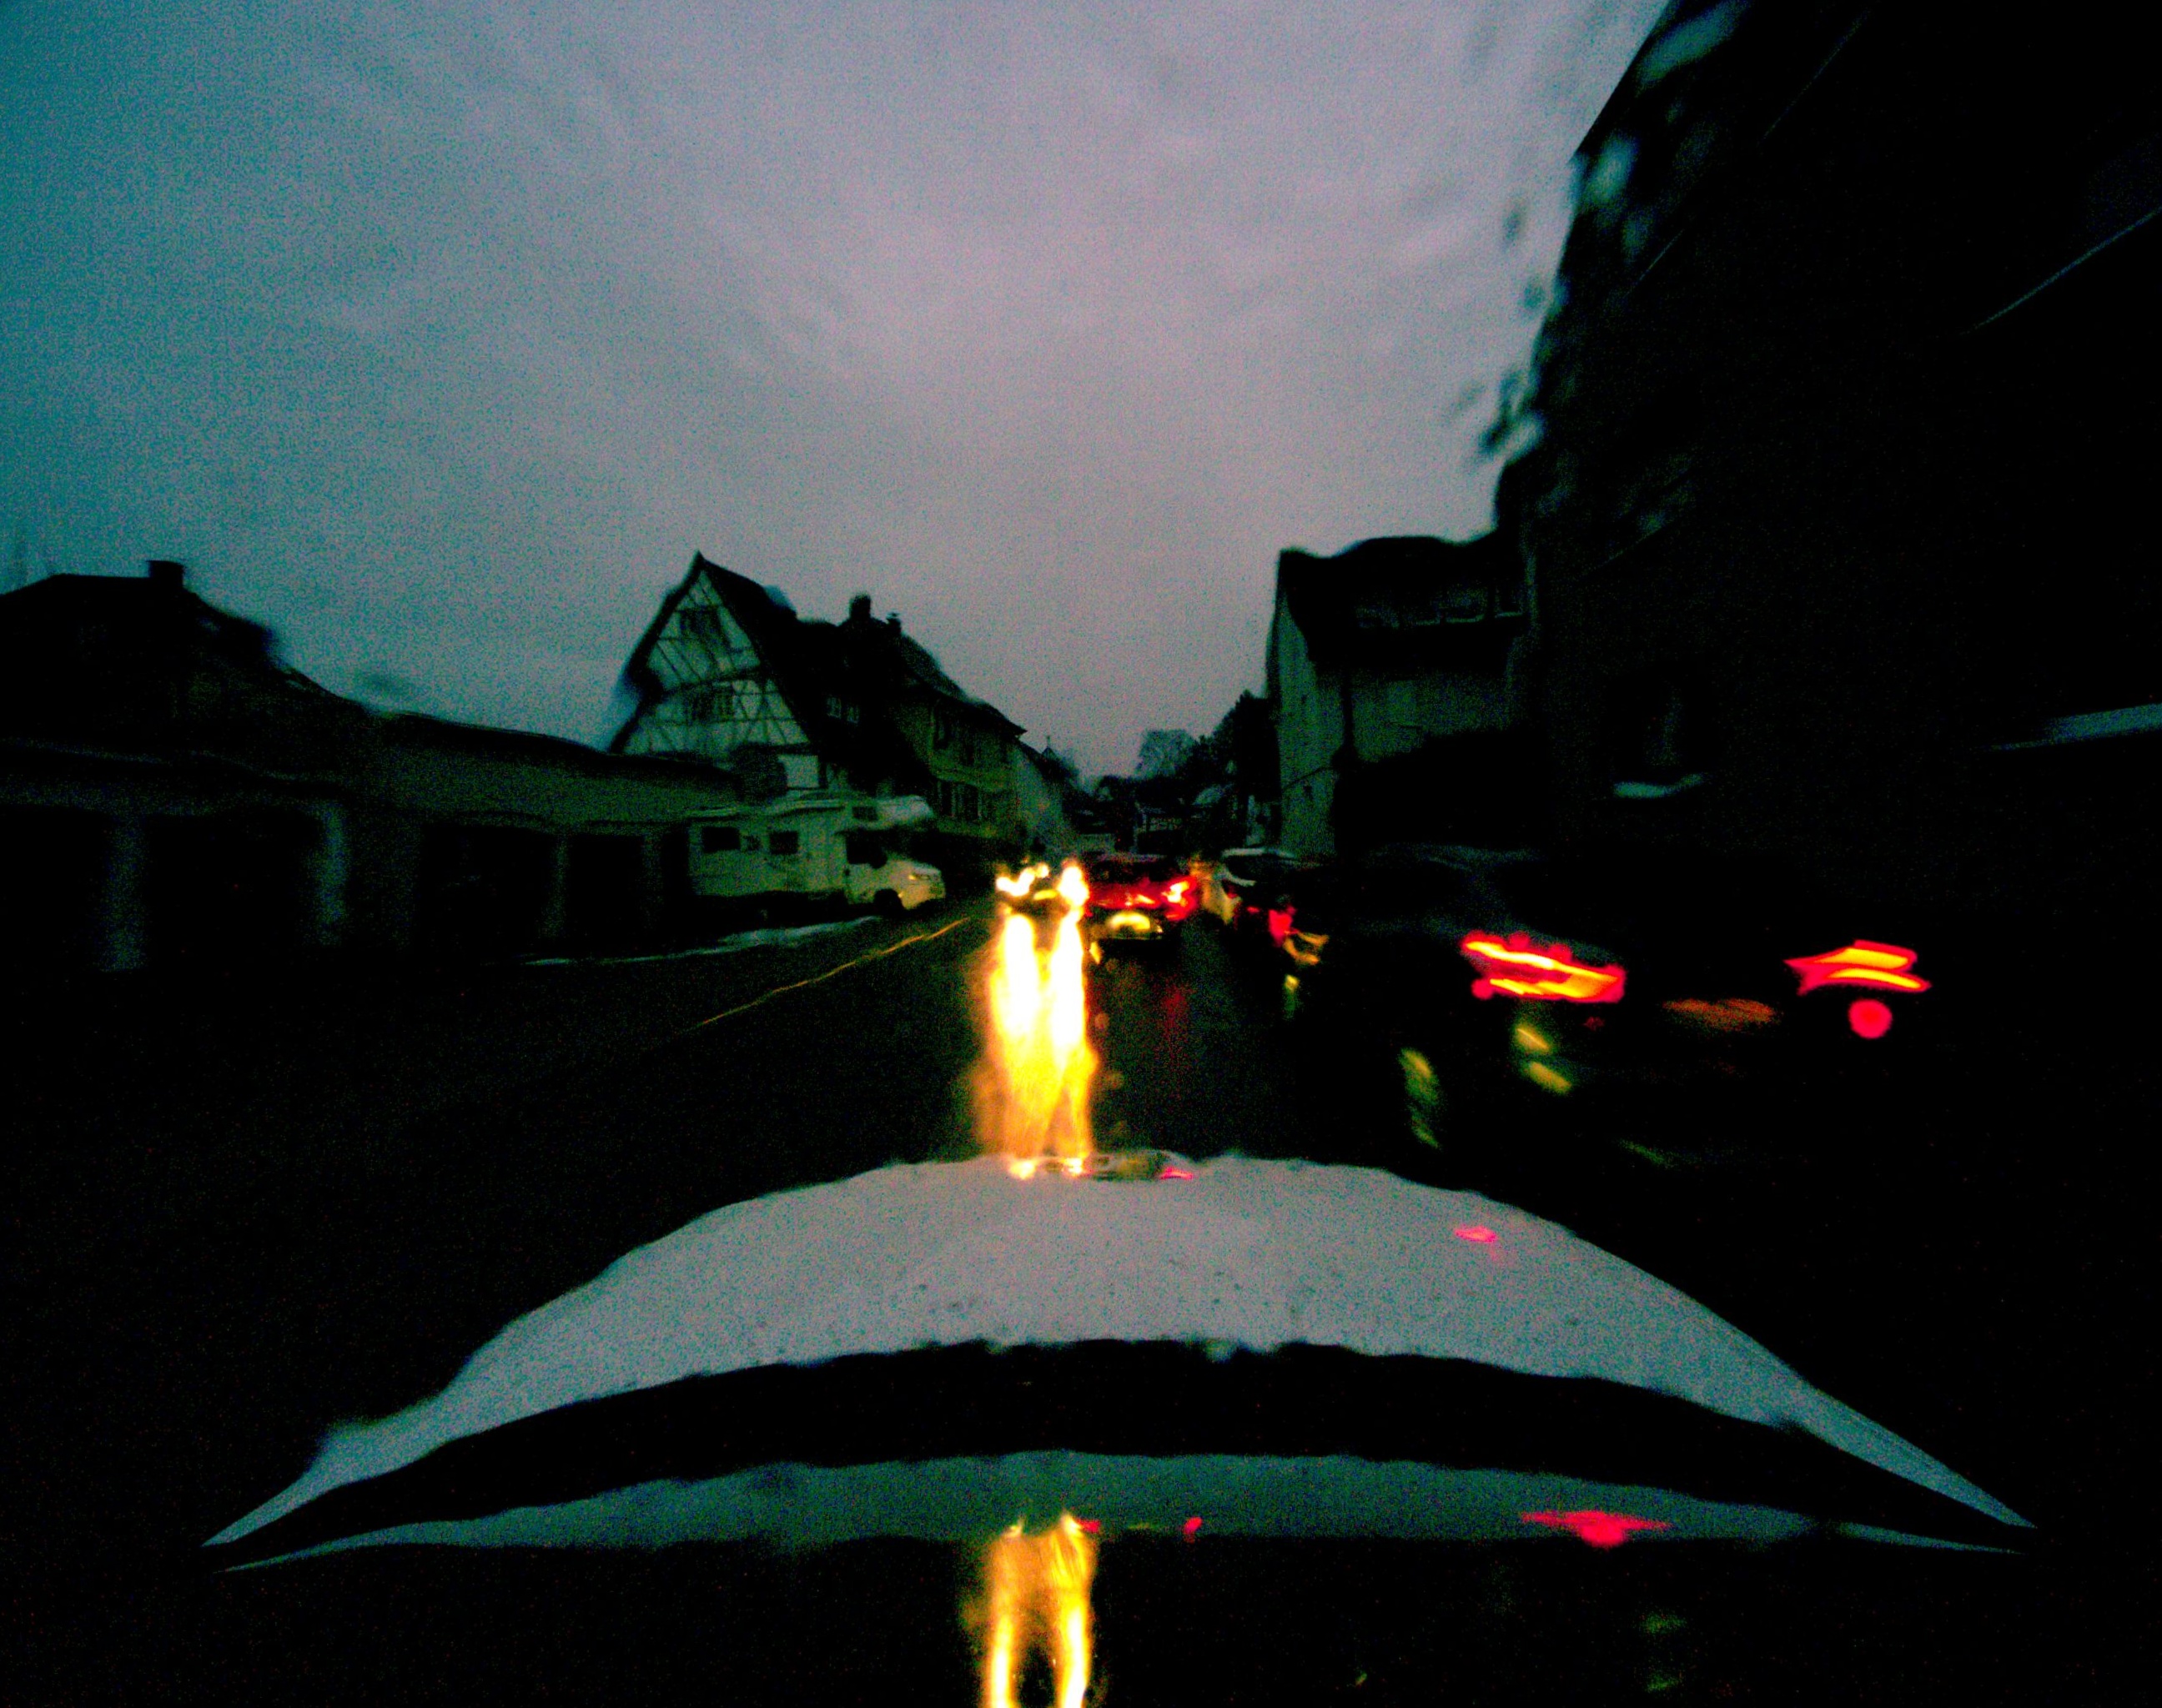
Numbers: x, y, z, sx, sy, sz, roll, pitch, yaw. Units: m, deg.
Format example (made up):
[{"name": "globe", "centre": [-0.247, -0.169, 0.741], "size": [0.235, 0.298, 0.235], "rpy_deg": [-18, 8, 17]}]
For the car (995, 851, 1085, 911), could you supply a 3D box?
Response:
[{"name": "car", "centre": [-0.988, 0.646, 21.948], "size": [1.860, 1.402, 4.371], "rpy_deg": [-1, 0, 4]}]

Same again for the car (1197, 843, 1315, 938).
[{"name": "car", "centre": [3.101, 0.574, 15.074], "size": [1.716, 1.507, 3.758], "rpy_deg": [-1, 0, 6]}]

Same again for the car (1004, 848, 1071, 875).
[{"name": "car", "centre": [-2.487, 0.426, 46.757], "size": [3.486, 1.507, 1.697], "rpy_deg": [-1, 0, 10]}]

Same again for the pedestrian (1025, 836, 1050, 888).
[{"name": "pedestrian", "centre": [-1.714, 0.318, 32.473], "size": [0.870, 2.013, 0.795], "rpy_deg": [-1, 0, 3]}]

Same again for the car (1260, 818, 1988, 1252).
[{"name": "car", "centre": [2.416, 0.642, 4.961], "size": [1.792, 1.534, 4.000], "rpy_deg": [-1, 0, 1]}]

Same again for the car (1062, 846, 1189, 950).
[{"name": "car", "centre": [0.745, 0.610, 13.517], "size": [1.788, 1.476, 4.004], "rpy_deg": [0, 0, 3]}]

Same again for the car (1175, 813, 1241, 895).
[{"name": "car", "centre": [4.027, -0.025, 26.330], "size": [1.805, 2.413, 3.757], "rpy_deg": [-1, 0, 5]}]

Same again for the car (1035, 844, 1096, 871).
[{"name": "car", "centre": [-0.924, 0.205, 49.024], "size": [3.491, 1.507, 1.694], "rpy_deg": [-1, 0, 4]}]

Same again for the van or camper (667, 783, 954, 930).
[{"name": "van or camper", "centre": [-6.521, 0.073, 20.018], "size": [6.026, 2.955, 2.412], "rpy_deg": [-4, 0, 8]}]

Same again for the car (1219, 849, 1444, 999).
[{"name": "car", "centre": [2.727, 0.667, 9.718], "size": [1.672, 1.395, 3.754], "rpy_deg": [-1, 0, 3]}]
